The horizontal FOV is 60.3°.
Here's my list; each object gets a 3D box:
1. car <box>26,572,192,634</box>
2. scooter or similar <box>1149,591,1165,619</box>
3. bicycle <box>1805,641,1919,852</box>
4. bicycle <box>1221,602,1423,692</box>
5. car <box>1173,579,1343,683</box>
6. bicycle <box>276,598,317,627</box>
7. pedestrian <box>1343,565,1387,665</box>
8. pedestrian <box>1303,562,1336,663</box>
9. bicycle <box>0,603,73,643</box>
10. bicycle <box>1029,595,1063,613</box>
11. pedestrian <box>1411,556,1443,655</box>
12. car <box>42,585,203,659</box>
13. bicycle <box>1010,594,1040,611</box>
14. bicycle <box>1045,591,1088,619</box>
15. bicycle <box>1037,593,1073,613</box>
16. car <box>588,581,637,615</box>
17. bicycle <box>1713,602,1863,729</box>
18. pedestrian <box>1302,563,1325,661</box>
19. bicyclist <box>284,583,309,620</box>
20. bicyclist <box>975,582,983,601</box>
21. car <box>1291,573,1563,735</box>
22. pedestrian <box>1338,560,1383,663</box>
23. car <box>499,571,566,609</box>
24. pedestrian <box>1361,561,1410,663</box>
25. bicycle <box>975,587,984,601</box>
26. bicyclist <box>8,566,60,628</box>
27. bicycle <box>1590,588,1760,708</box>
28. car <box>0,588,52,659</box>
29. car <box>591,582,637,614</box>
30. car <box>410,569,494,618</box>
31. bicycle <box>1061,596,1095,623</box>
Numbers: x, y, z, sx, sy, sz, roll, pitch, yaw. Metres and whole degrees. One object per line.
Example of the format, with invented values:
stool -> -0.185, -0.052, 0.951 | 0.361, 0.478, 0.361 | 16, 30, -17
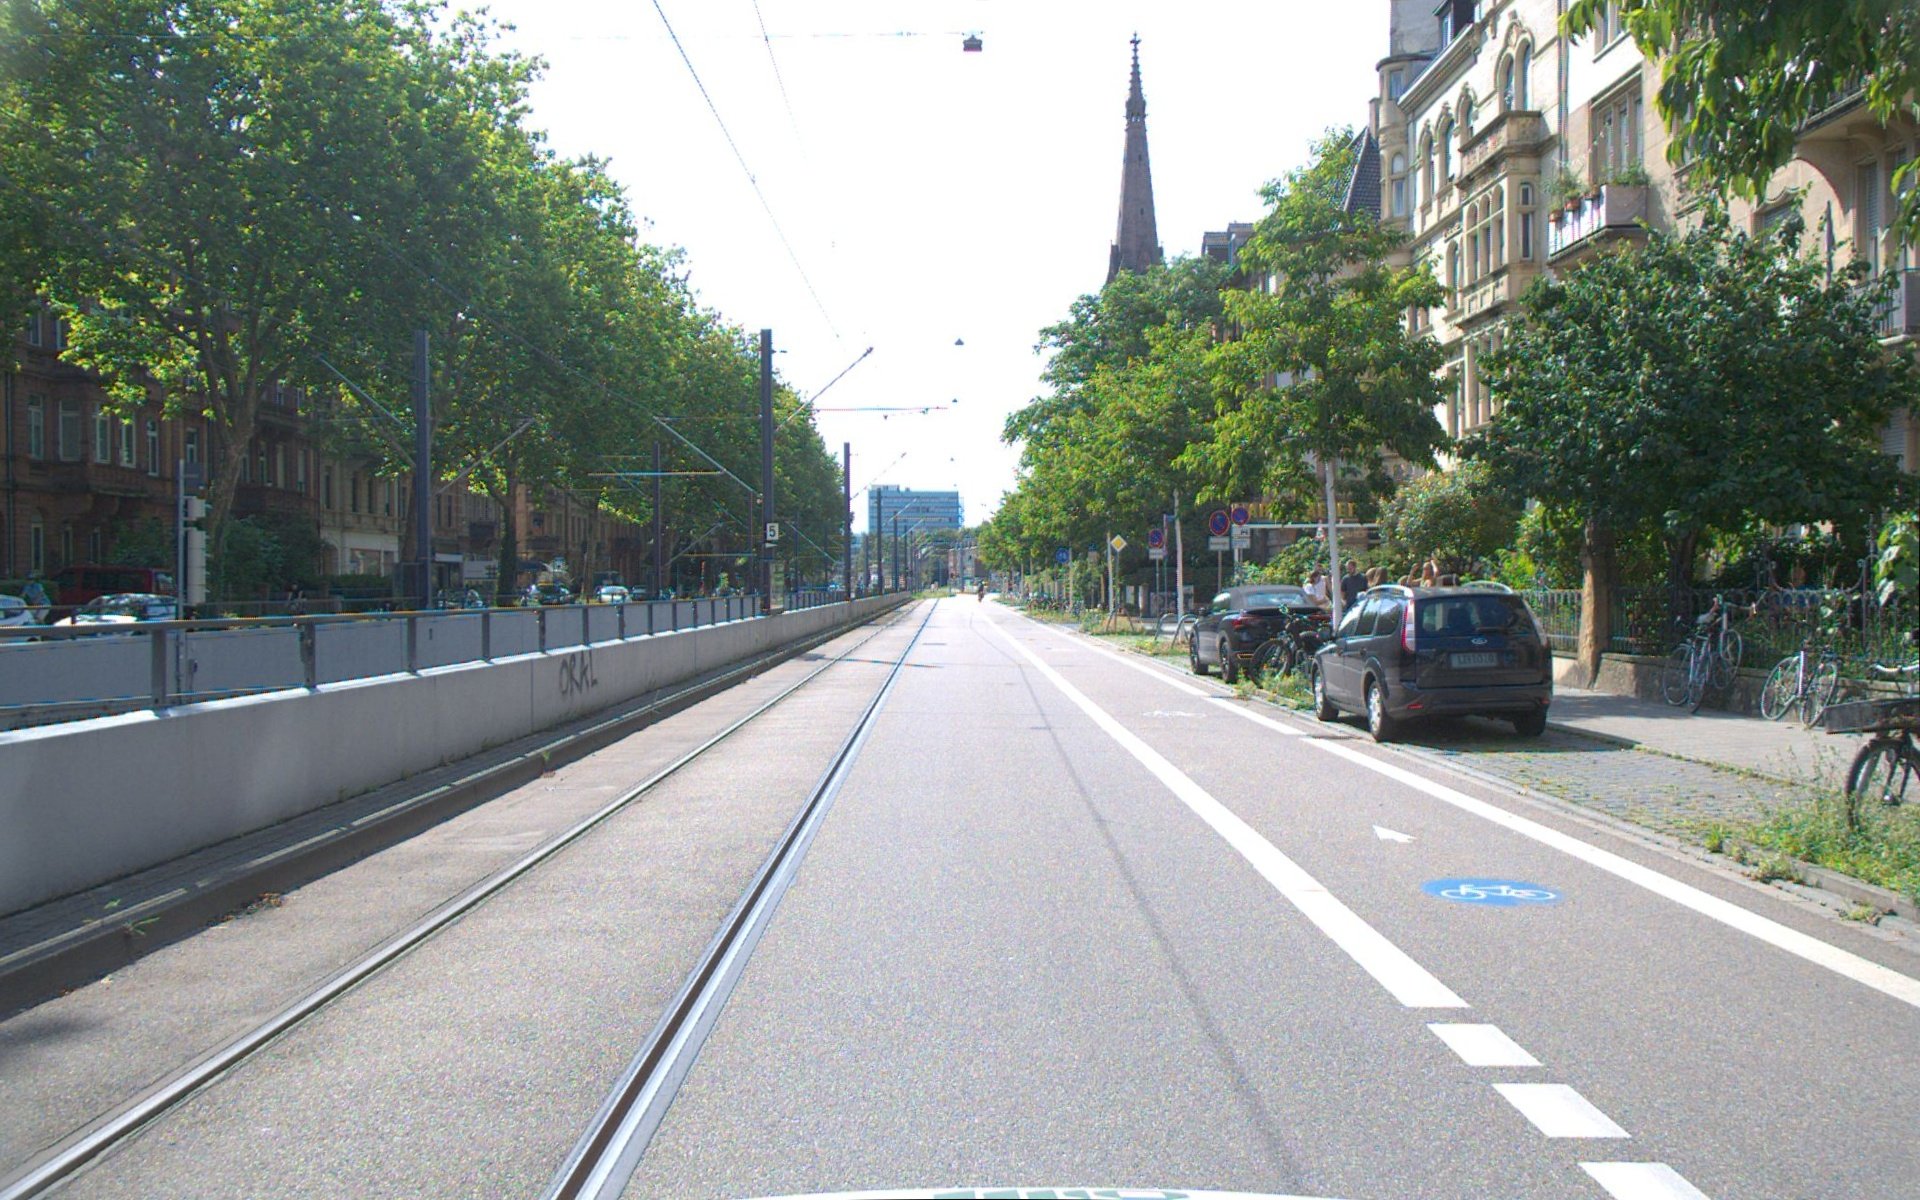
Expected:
car -> -27.610, 0.072, 53.751 | 4.313, 1.952, 1.999 | 0, 0, -2
scooter or similar -> 8.389, 0.195, 70.444 | 0.451, 1.178, 1.573 | -2, 0, 0
bicycle -> 5.556, 0.776, 9.054 | 1.673, 1.088, 0.470 | 0, 0, -7
bicycle -> 5.392, 0.685, 24.638 | 2.896, 1.268, 0.790 | -1, 0, -14
car -> 4.965, 0.461, 28.151 | 1.763, 1.553, 4.486 | -2, 1, -4
bicycle -> -22.479, 0.420, 56.070 | 0.524, 0.929, 2.149 | 0, 0, 0
pedestrian -> 7.191, 0.266, 29.374 | 0.493, 1.736, 0.493 | -3, 1, -19
pedestrian -> 6.649, 0.229, 30.582 | 0.450, 1.836, 0.319 | -3, 0, -2
bicycle -> -22.460, 0.541, 40.078 | 0.657, 0.929, 2.368 | 0, 0, 0
bicycle -> 4.775, 0.232, 91.851 | 1.780, 0.918, 0.603 | -3, 1, -4
pedestrian -> 8.407, 0.096, 29.767 | 0.376, 1.736, 0.431 | -3, 0, -1
car -> -19.044, 0.461, 37.793 | 1.610, 1.508, 4.001 | -3, 1, -1
bicycle -> 4.058, 0.148, 103.087 | 1.780, 0.918, 0.603 | -3, 1, -4
bicycle -> 4.788, 0.227, 74.274 | 1.784, 1.165, 0.650 | -3, 1, -12
bicycle -> 4.983, 0.150, 86.917 | 1.780, 0.918, 0.651 | -3, 1, -4
car -> -19.387, -0.110, 92.450 | 1.801, 1.758, 4.000 | -3, 1, 0
bicycle -> 8.247, 0.616, 16.570 | 0.419, 1.159, 2.023 | -3, 0, 0
pedestrian -> 6.355, 0.215, 29.705 | 0.311, 1.736, 0.461 | -3, 0, 13
bicyclist -> -22.478, 0.041, 56.039 | 0.524, 1.253, 0.723 | 0, 0, -1
bicyclist -> 1.730, -0.771, 150.189 | 0.755, 1.760, 1.026 | 0, 0, 0
car -> 4.928, 0.495, 18.131 | 1.651, 1.528, 4.708 | 0, 0, 0
pedestrian -> 7.285, 0.207, 30.082 | 0.656, 1.836, 0.319 | -3, 0, -2
car -> -20.197, -0.484, 78.220 | 1.952, 1.665, 4.001 | -3, 1, 2
pedestrian -> 7.333, 0.201, 28.516 | 0.520, 1.705, 0.571 | -3, 1, -19
bicycle -> 1.741, -0.520, 150.225 | 0.782, 1.258, 2.777 | 0, 0, 0
bicyclist -> -22.458, -0.084, 40.137 | 0.674, 1.481, 1.044 | 0, 0, -1
bicycle -> 8.322, 0.512, 19.427 | 0.644, 1.270, 2.943 | -3, 0, 0
car -> -18.978, 0.493, 31.345 | 1.466, 1.326, 3.492 | -3, 1, 2
car -> -20.122, -0.137, 96.412 | 1.801, 1.758, 4.000 | -3, 1, 0
car -> -19.419, -0.288, 63.322 | 1.682, 1.720, 3.733 | -2, 1, 6
bicycle -> 4.923, 0.403, 69.101 | 0.640, 1.057, 1.810 | -3, 1, -21
